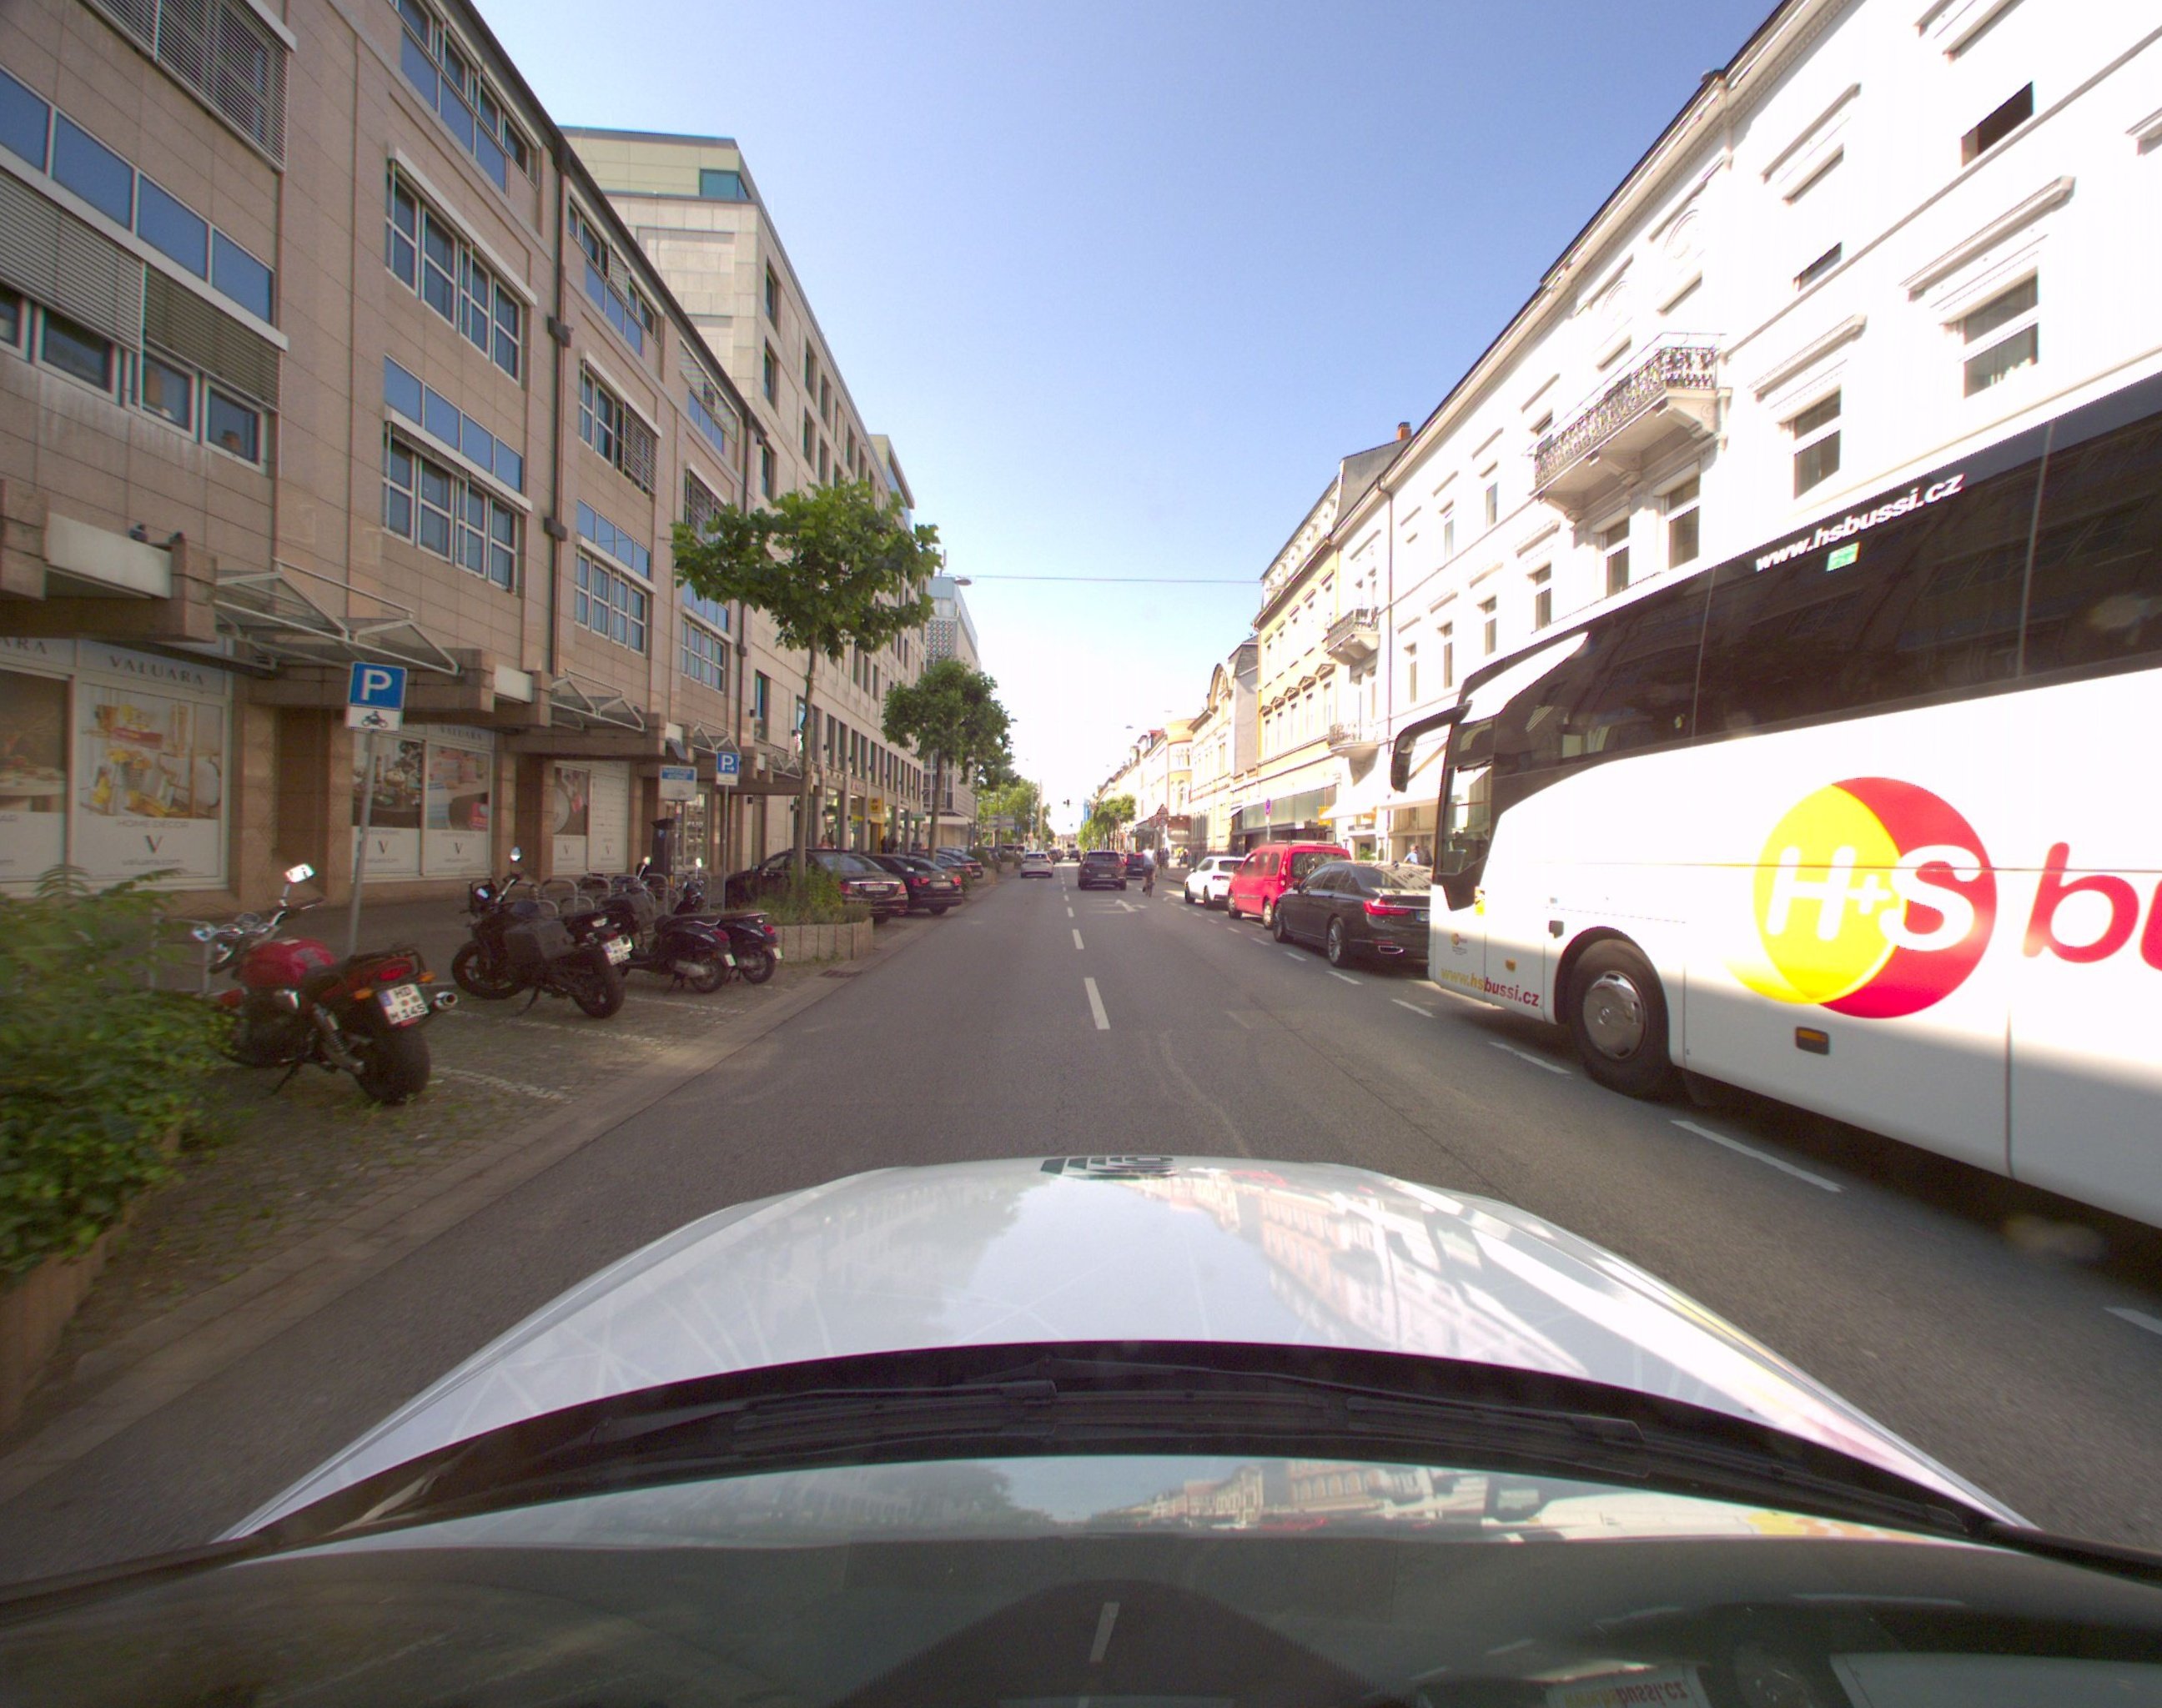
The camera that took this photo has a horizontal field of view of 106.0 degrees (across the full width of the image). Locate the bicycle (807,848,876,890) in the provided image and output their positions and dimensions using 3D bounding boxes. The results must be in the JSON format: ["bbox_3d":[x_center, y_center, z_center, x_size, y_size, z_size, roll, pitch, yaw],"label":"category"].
[{"bbox_3d":[-7.866,0.490,26.786,2.064,1.288,0.366,3,-1,-10],"label":"bicycle"}]

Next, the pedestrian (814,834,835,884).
[{"bbox_3d":[-8.505,0.168,27.041,0.565,1.657,0.634,0,0,-9],"label":"pedestrian"}]

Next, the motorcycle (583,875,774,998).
[{"bbox_3d":[-4.433,0.862,8.977,1.895,1.170,0.732,1,0,18],"label":"motorcycle"}]

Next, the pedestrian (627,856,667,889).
[{"bbox_3d":[-11.487,0.489,21.581,0.564,0.809,0.774,5,0,-2],"label":"pedestrian"}]

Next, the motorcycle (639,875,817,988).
[{"bbox_3d":[-4.193,0.881,9.692,1.895,1.170,0.764,1,0,18],"label":"motorcycle"}]

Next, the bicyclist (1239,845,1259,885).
[{"bbox_3d":[6.831,0.457,33.114,0.630,1.595,0.920,0,-1,0],"label":"bicyclist"}]

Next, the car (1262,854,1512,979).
[{"bbox_3d":[4.389,0.780,12.739,1.854,1.470,5.223,2,0,-1],"label":"car"}]

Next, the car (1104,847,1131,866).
[{"bbox_3d":[2.818,0.183,63.579,1.816,1.385,3.999,0,1,-1],"label":"car"}]

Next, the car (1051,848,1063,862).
[{"bbox_3d":[-3.607,0.222,122.076,1.858,2.030,3.996,1,-1,-3],"label":"car"}]

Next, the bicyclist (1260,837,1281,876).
[{"bbox_3d":[7.791,0.094,33.590,0.655,1.595,0.920,0,0,0],"label":"bicyclist"}]

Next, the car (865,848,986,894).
[{"bbox_3d":[-5.806,0.589,30.072,4.593,1.408,1.918,3,1,41],"label":"car"}]

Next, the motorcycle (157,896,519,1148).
[{"bbox_3d":[-4.677,0.917,5.112,2.152,1.170,0.926,1,0,26],"label":"motorcycle"}]

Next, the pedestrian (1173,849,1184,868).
[{"bbox_3d":[8.941,0.382,74.621,0.790,1.720,0.728,0,0,-7],"label":"pedestrian"}]

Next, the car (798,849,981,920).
[{"bbox_3d":[-4.900,0.688,20.452,4.736,1.422,1.895,3,1,38],"label":"car"}]

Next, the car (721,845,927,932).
[{"bbox_3d":[-5.621,0.638,17.486,4.697,1.533,2.003,2,0,40],"label":"car"}]

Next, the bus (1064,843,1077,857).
[{"bbox_3d":[-2.829,-1.181,216.570,2.765,3.605,8.958,0,0,-5],"label":"bus"}]

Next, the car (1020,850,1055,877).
[{"bbox_3d":[-2.470,0.529,46.255,1.859,1.441,3.996,-1,0,-3],"label":"car"}]

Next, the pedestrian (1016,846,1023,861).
[{"bbox_3d":[-6.687,-0.077,88.222,0.616,1.615,0.545,1,-2,-32],"label":"pedestrian"}]

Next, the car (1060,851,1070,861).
[{"bbox_3d":[-3.058,0.429,154.697,1.859,1.706,3.995,-4,-2,-3],"label":"car"}]

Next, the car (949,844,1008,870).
[{"bbox_3d":[-7.328,0.206,58.458,3.979,1.500,1.715,5,0,-4],"label":"car"}]

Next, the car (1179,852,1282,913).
[{"bbox_3d":[4.207,0.739,23.730,1.809,1.466,4.574,2,1,-4],"label":"car"}]

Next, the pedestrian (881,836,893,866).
[{"bbox_3d":[-12.870,-0.196,53.963,0.622,2.013,0.700,0,0,-1],"label":"pedestrian"}]

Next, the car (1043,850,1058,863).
[{"bbox_3d":[-3.491,0.305,93.781,1.739,1.441,3.997,0,0,-2],"label":"car"}]

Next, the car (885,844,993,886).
[{"bbox_3d":[-6.158,0.457,35.309,4.300,1.513,1.844,3,0,28],"label":"car"}]

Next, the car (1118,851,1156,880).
[{"bbox_3d":[3.118,0.603,45.605,1.817,1.409,3.186,3,1,-1],"label":"car"}]

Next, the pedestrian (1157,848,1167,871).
[{"bbox_3d":[6.734,0.443,67.542,0.706,1.899,1.153,1,0,2],"label":"pedestrian"}]

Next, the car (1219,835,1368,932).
[{"bbox_3d":[4.577,0.571,18.286,1.824,1.863,4.346,2,0,-5],"label":"car"}]

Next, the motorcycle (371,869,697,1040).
[{"bbox_3d":[-4.976,0.823,7.483,2.326,1.268,1.300,1,0,18],"label":"motorcycle"}]

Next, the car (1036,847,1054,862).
[{"bbox_3d":[-3.498,0.022,79.960,1.739,1.441,3.997,0,0,-2],"label":"car"}]

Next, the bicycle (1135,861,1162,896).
[{"bbox_3d":[2.325,0.831,28.372,0.663,1.120,2.242,3,1,-1],"label":"bicycle"}]

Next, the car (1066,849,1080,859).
[{"bbox_3d":[-1.182,0.012,120.516,1.858,1.441,3.996,0,0,-2],"label":"car"}]

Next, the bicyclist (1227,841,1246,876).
[{"bbox_3d":[7.351,0.204,38.499,0.707,1.595,0.963,0,0,0],"label":"bicyclist"}]

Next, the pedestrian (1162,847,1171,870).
[{"bbox_3d":[6.843,0.376,64.834,0.649,1.809,0.730,1,0,1],"label":"pedestrian"}]

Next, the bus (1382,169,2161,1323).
[{"bbox_3d":[4.934,-0.327,2.383,2.875,3.742,12.413,2,0,-3],"label":"bus"}]

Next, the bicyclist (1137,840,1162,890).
[{"bbox_3d":[2.357,0.369,28.123,0.692,1.673,0.915,3,1,-1],"label":"bicyclist"}]

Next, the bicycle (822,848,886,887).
[{"bbox_3d":[-7.870,0.465,28.237,2.070,1.219,0.755,3,-1,-18],"label":"bicycle"}]

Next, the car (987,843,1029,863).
[{"bbox_3d":[-8.589,-0.169,95.285,4.664,2.003,1.953,4,-1,38],"label":"car"}]

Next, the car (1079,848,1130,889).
[{"bbox_3d":[0.877,0.552,32.636,1.828,1.527,3.997,1,0,-2],"label":"car"}]

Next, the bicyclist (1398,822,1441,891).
[{"bbox_3d":[8.465,0.056,20.394,0.645,1.684,1.013,0,0,-1],"label":"bicyclist"}]

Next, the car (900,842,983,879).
[{"bbox_3d":[-7.100,0.325,41.751,3.982,1.500,1.714,5,0,-6],"label":"car"}]

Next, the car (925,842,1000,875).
[{"bbox_3d":[-6.995,0.275,48.149,3.953,1.568,1.709,5,0,23],"label":"car"}]
